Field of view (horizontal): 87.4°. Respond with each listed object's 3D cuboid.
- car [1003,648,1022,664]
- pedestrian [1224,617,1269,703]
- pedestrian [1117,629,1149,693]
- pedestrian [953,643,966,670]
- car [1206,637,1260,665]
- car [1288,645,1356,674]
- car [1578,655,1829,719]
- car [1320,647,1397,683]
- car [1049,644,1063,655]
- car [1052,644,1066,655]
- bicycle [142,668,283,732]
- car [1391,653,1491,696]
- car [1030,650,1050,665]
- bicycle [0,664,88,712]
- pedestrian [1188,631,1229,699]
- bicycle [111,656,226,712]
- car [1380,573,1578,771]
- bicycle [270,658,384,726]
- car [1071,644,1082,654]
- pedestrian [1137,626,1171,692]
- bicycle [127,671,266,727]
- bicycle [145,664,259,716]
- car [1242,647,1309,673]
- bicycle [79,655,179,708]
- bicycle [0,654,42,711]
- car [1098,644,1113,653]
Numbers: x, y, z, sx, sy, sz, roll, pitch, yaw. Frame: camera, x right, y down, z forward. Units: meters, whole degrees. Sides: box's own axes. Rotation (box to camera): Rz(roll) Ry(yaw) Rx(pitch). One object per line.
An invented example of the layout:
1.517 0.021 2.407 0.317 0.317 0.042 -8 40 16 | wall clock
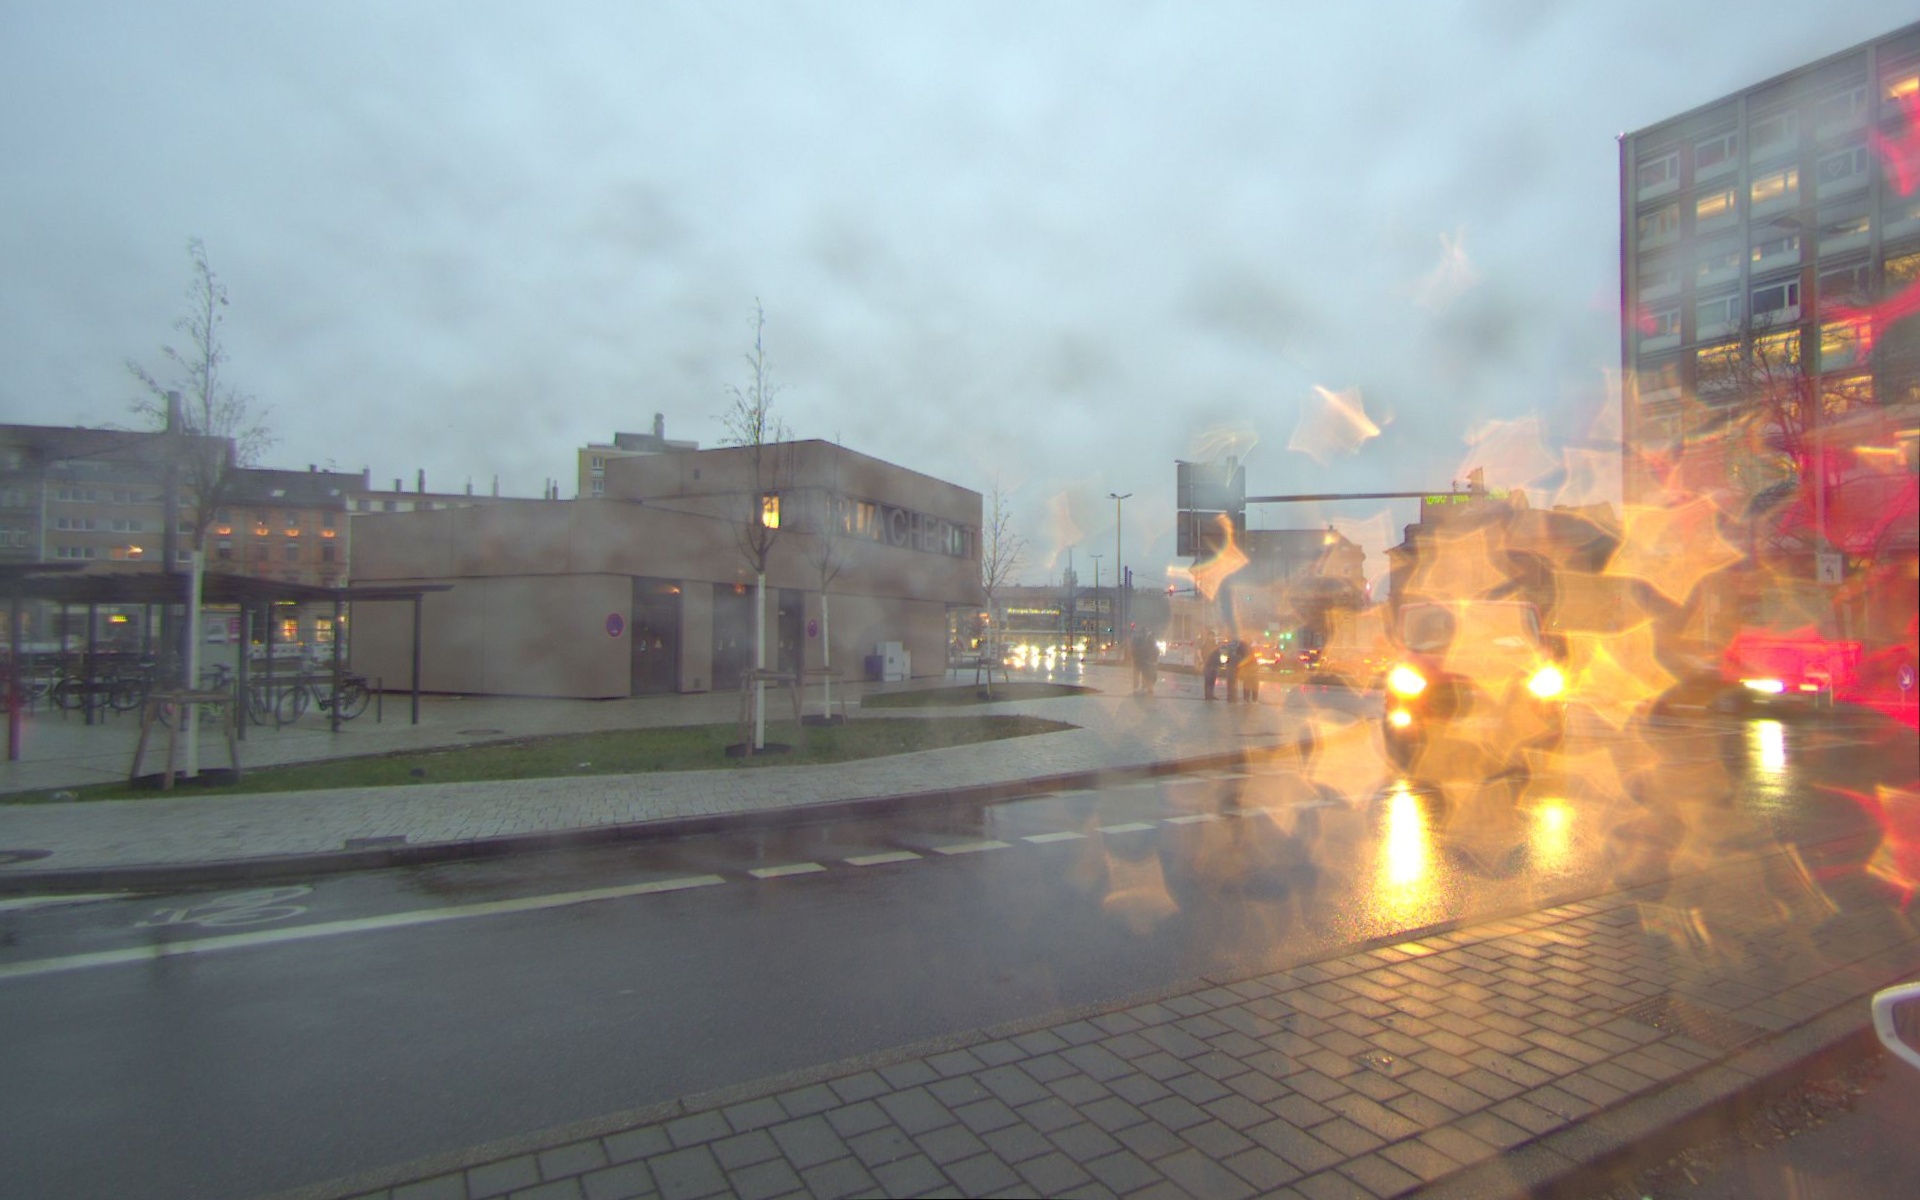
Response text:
5.161 5.547 99.004 1.711 1.467 3.715 -1 -2 1 | car
6.949 1.445 24.352 0.971 2.047 0.802 -1 -2 19 | pedestrian
4.955 1.735 28.775 0.731 1.793 0.546 0 -2 -16 | pedestrian
-0.042 4.311 76.970 0.741 2.040 0.753 1 -2 -31 | pedestrian
19.614 3.661 72.351 3.514 1.850 1.672 2 0 8 | car
20.895 3.414 58.075 3.364 1.481 1.515 2 0 -1 | car
17.712 2.027 24.264 1.907 1.319 4.685 1 -3 -16 | car
20.490 3.316 51.815 1.795 1.589 3.991 2 0 -11 | car
14.377 7.405 150.601 1.703 1.529 4.003 -1 -2 10 | car
13.647 6.843 138.851 1.749 1.529 4.003 -1 -2 7 | car
-12.943 1.708 17.457 0.466 0.989 1.923 1 -2 29 | bicycle
21.466 3.311 45.012 1.798 1.589 3.984 2 0 -18 | car
8.206 5.886 103.517 1.775 1.496 4.595 1 -3 1 | car
-18.516 1.738 19.988 0.466 0.903 1.693 1 -2 24 | bicycle
6.581 1.710 26.626 0.838 1.778 0.659 0 -2 -14 | pedestrian
-16.537 1.742 21.037 0.466 1.087 1.830 1 -2 26 | bicycle
6.698 0.878 13.160 1.894 2.097 4.640 -2 -3 26 | car
-11.757 1.681 18.718 0.605 1.172 1.755 1 -2 20 | bicycle
17.946 7.524 154.503 1.704 1.529 4.003 -1 -2 7 | car
5.594 1.704 29.025 0.723 1.863 0.674 0 -2 -16 | pedestrian
-13.594 1.743 17.950 0.466 0.903 1.923 1 -2 29 | bicycle
-15.187 1.784 20.173 0.466 0.968 1.767 1 -2 29 | bicycle
20.083 3.812 63.976 3.741 1.502 1.602 2 0 -1 | car
-17.694 1.716 21.431 0.511 1.050 1.573 1 -2 19 | bicycle
-19.401 1.638 19.837 0.466 1.122 1.797 1 -2 29 | bicycle
24.998 8.310 172.741 1.705 1.529 4.000 -1 -2 20 | car
